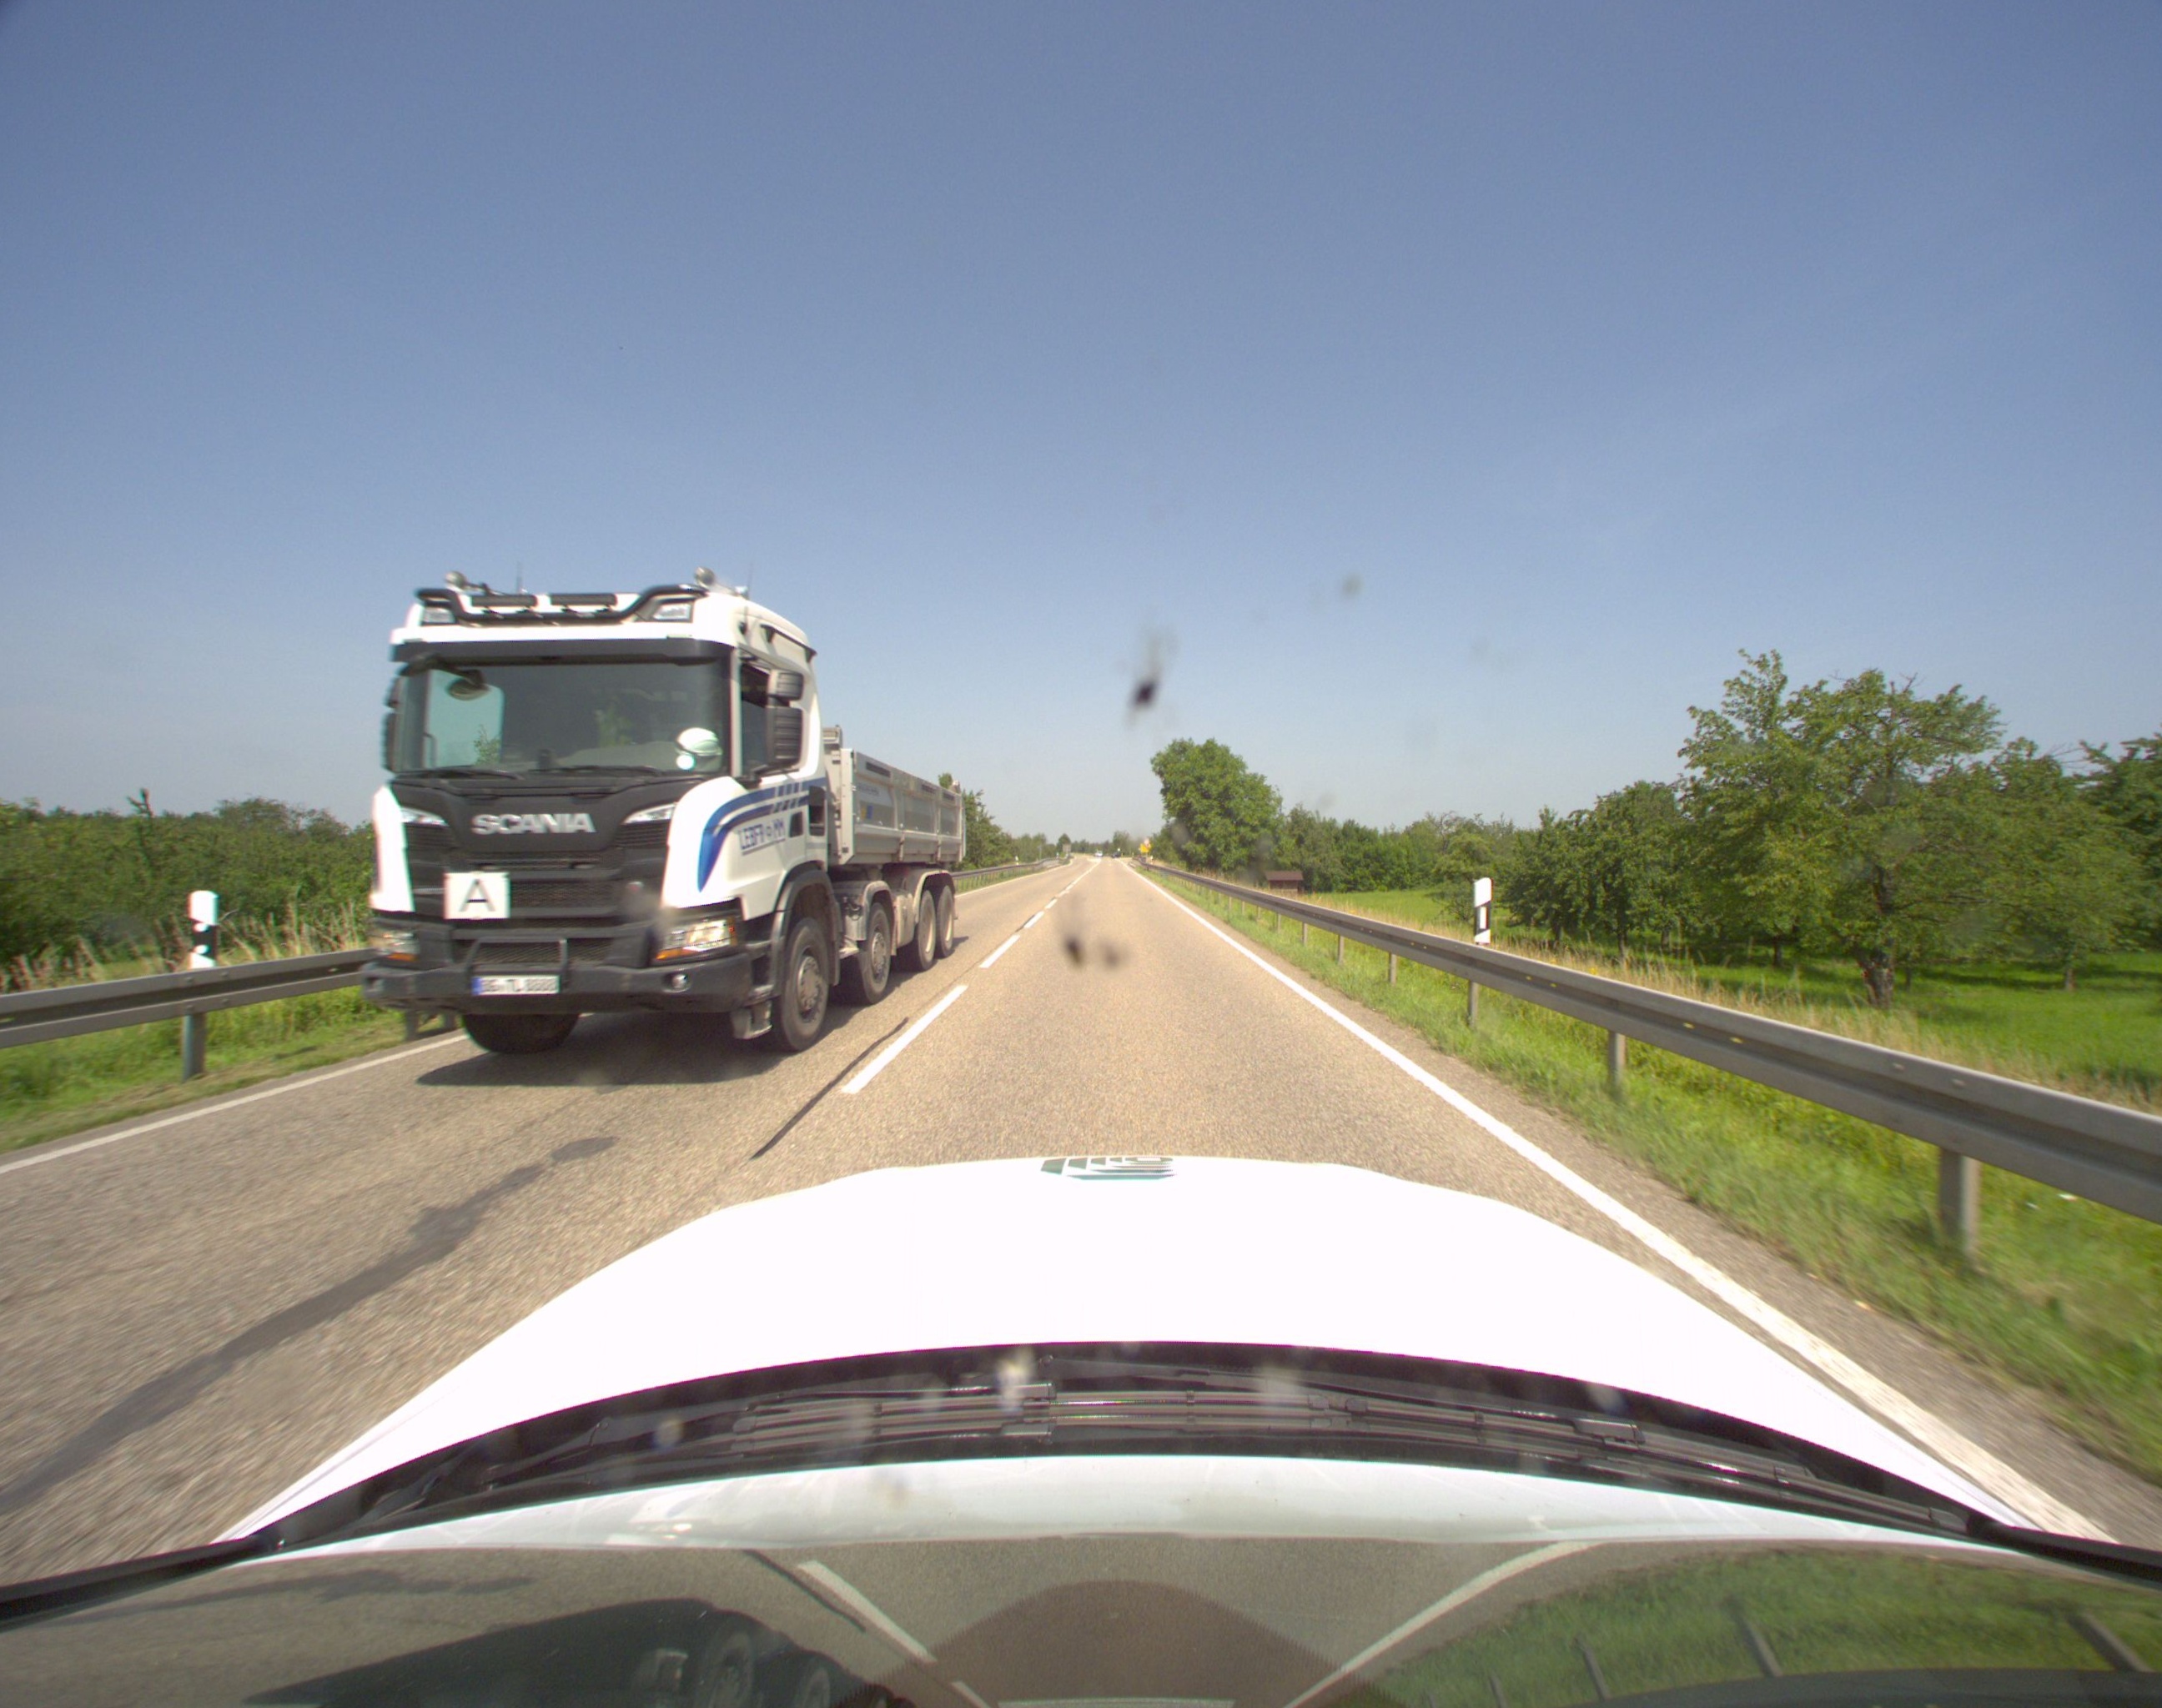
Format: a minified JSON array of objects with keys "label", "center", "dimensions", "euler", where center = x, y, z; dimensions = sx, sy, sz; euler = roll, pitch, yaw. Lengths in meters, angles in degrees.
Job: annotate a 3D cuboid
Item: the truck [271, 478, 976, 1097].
[{"label":"truck","center":[-3.350,-0.376,9.555],"dimensions":[2.718,3.672,9.386],"euler":[-1,0,2]}]
